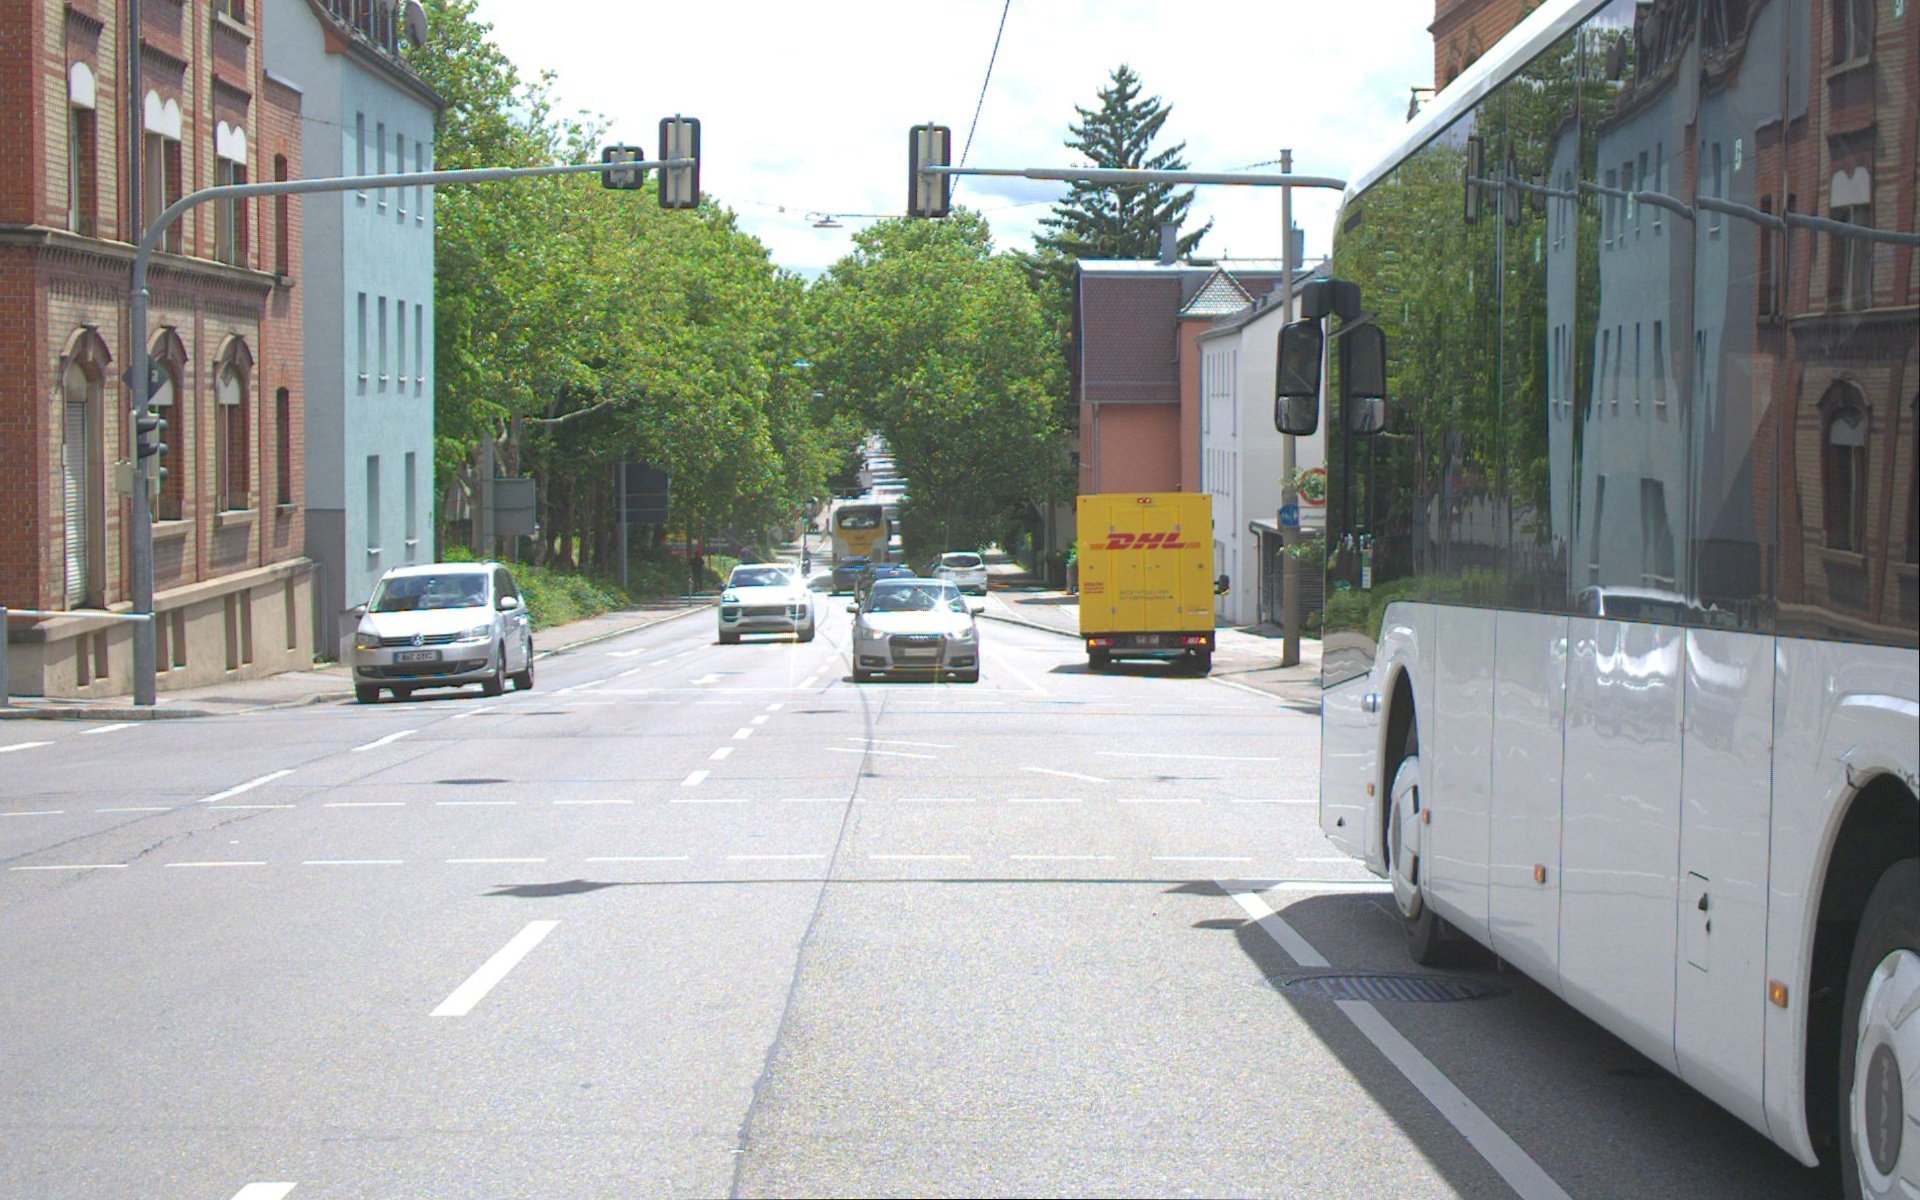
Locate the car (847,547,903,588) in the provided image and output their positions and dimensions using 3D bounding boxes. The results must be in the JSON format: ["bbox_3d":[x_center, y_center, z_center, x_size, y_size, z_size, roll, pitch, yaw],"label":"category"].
[{"bbox_3d":[-2.933,-1.130,119.045,1.865,1.363,4.547,-1,1,-1],"label":"car"}]

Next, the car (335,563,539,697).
[{"bbox_3d":[-6.523,0.336,43.328,1.935,1.558,4.389,-1,1,-1],"label":"car"}]

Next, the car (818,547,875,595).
[{"bbox_3d":[-4.429,-1.125,133.416,2.091,1.824,4.143,0,1,-4],"label":"car"}]

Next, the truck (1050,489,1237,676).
[{"bbox_3d":[3.146,-0.310,57.392,2.542,2.903,6.570,1,1,8],"label":"truck"}]

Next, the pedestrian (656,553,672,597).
[{"bbox_3d":[-11.770,-1.008,136.718,0.606,1.752,0.654,-1,1,-2],"label":"pedestrian"}]

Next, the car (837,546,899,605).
[{"bbox_3d":[-2.832,-0.781,106.335,1.819,1.778,4.000,-1,1,-1],"label":"car"}]

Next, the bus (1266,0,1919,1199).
[{"bbox_3d":[2.934,-0.344,9.302,2.904,3.498,12.488,1,1,-1],"label":"bus"}]

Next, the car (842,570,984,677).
[{"bbox_3d":[-0.644,0.293,47.717,1.865,1.363,4.547,-1,1,-1],"label":"car"}]

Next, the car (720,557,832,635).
[{"bbox_3d":[-3.933,-0.115,74.037,2.207,1.607,4.547,-1,1,-1],"label":"car"}]

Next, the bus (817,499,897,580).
[{"bbox_3d":[-4.865,-2.794,159.810,3.300,3.618,11.246,-1,1,-4],"label":"bus"}]

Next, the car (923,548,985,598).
[{"bbox_3d":[-0.238,-1.028,129.629,2.091,1.824,4.143,0,1,-4],"label":"car"}]
